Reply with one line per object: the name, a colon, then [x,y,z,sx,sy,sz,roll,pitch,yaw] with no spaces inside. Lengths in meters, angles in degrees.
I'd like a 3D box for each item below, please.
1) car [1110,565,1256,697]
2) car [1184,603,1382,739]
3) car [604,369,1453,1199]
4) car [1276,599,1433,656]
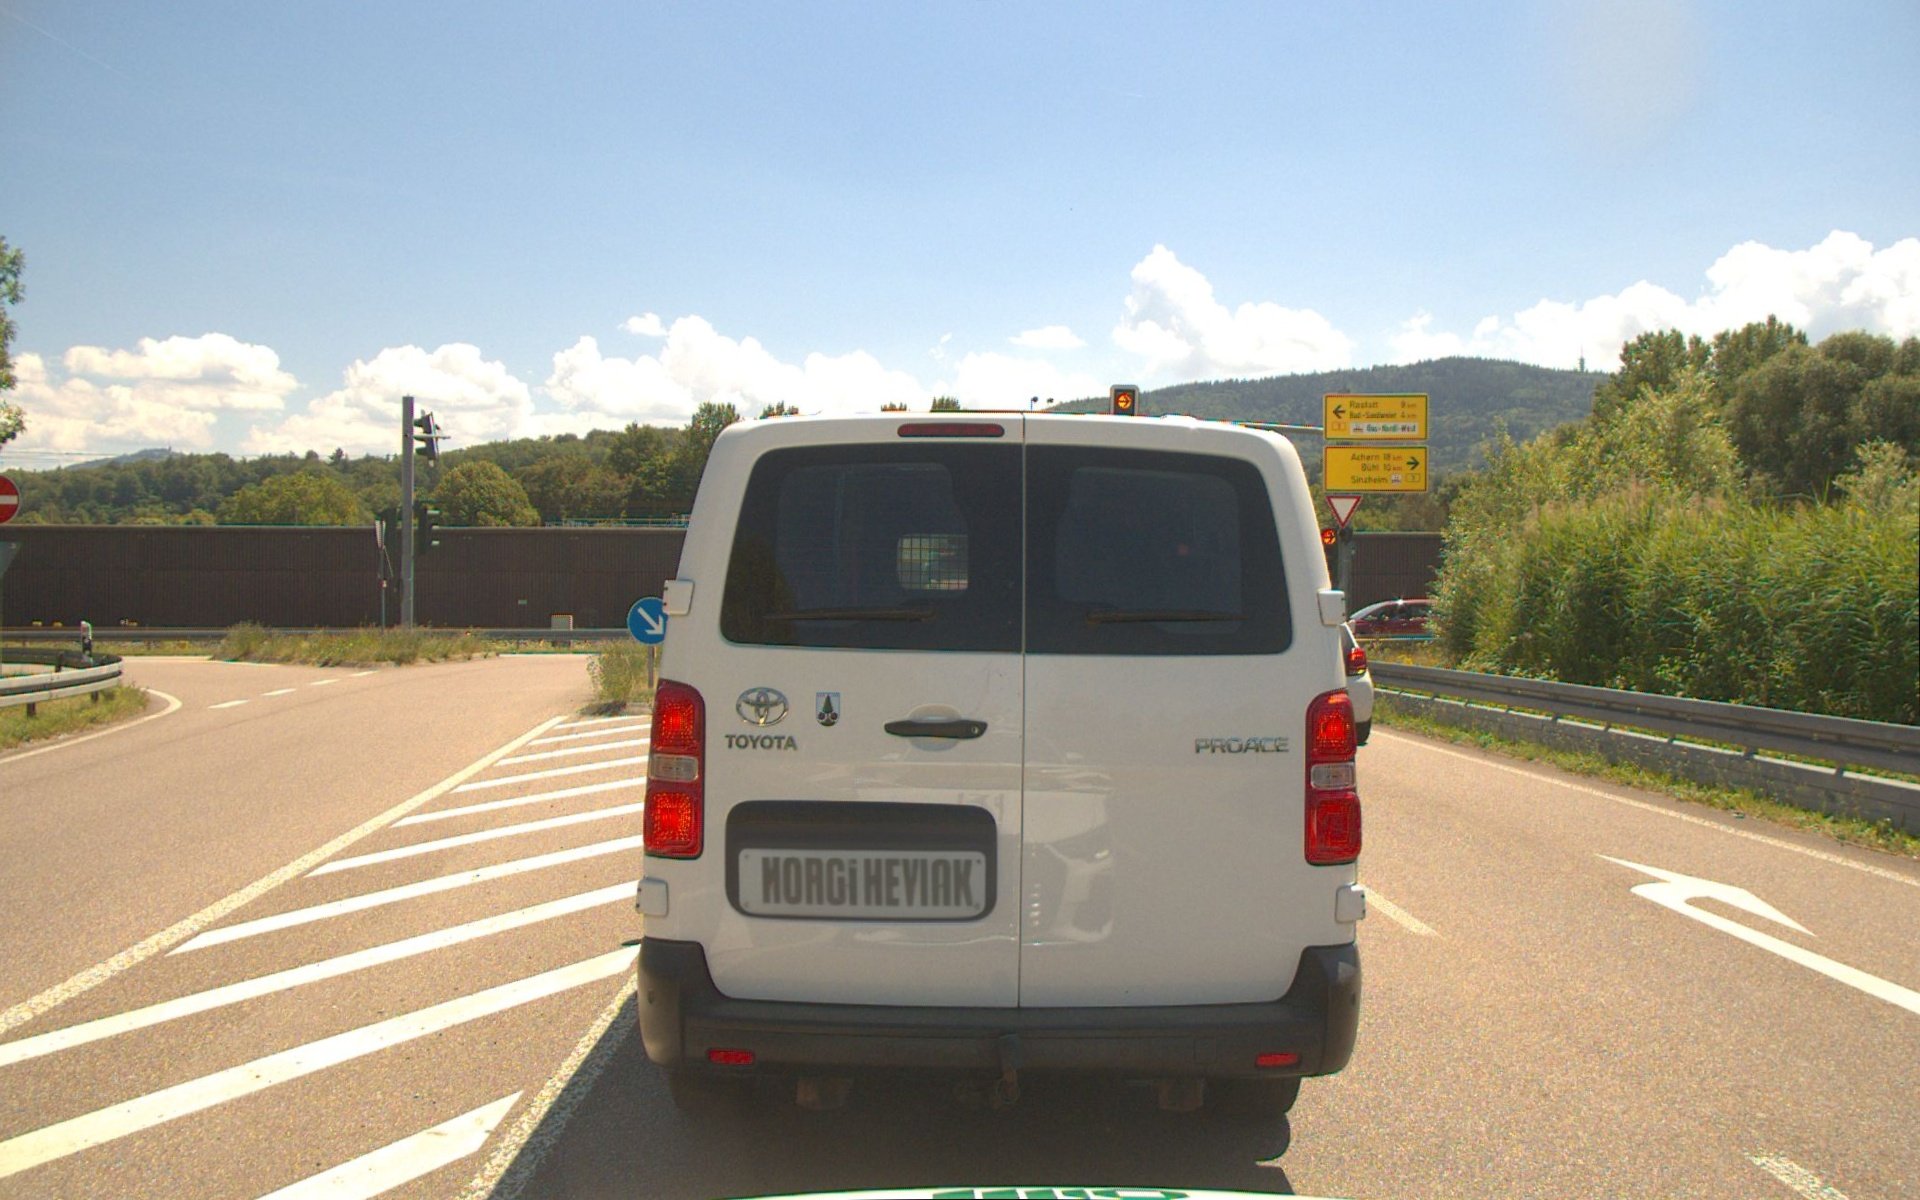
car: [3.709,0.486,28.264,1.889,2.035,4.838,1,0,1]
car: [3.744,0.783,19.675,1.622,1.456,3.364,1,0,-1]
car: [0.114,0.475,5.639,1.848,1.919,3.999,1,0,-1]
car: [11.885,0.819,50.008,4.225,1.685,1.998,0,0,-4]
